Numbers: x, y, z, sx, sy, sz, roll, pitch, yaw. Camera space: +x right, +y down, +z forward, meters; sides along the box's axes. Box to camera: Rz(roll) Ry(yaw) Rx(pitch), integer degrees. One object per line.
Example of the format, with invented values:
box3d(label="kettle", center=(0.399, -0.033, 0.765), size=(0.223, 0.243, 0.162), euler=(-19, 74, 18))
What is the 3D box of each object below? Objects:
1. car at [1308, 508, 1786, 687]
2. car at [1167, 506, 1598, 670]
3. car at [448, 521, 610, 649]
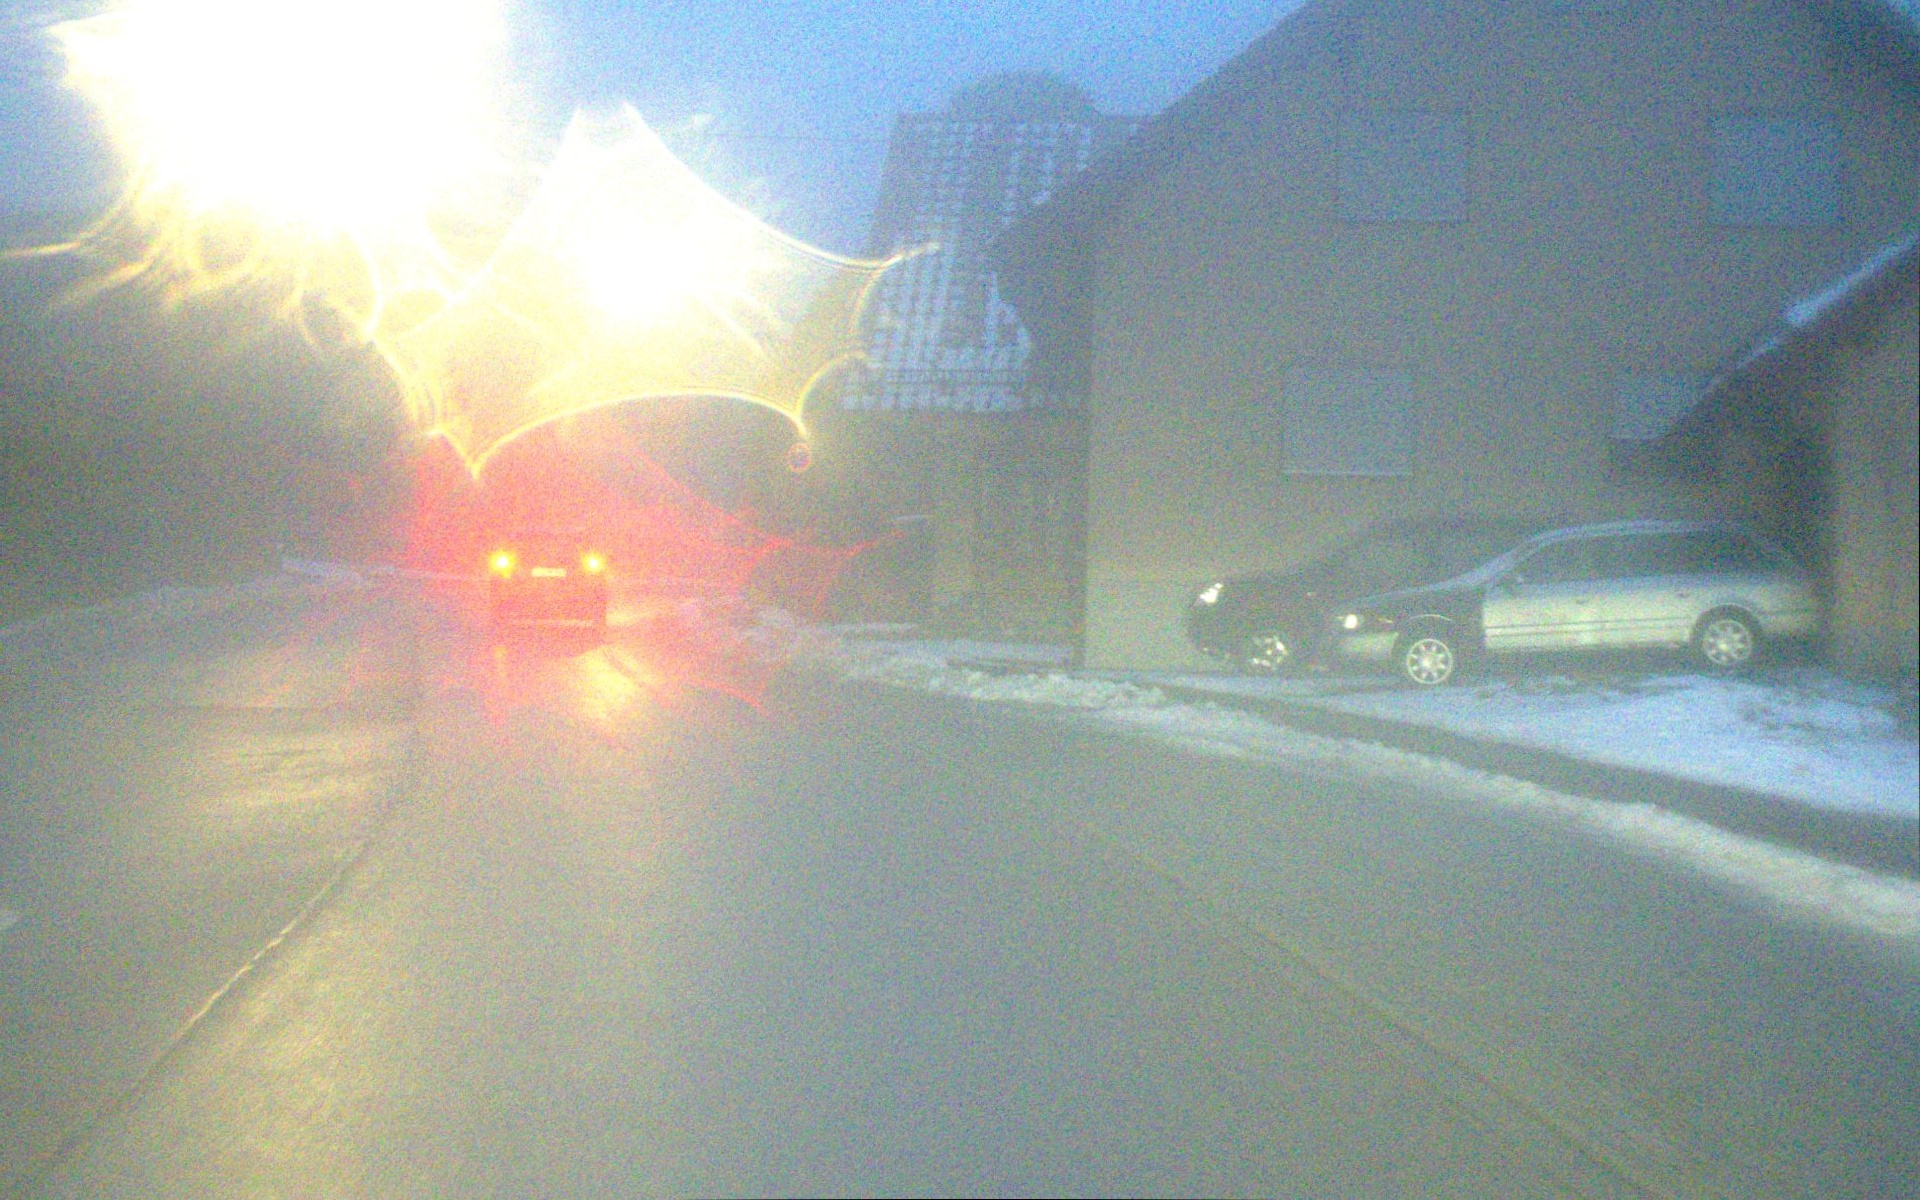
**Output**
box3d(label="car", center=(5.402, 0.008, 32.071), size=(4.243, 1.554, 1.999), euler=(-1, -2, 7))
box3d(label="car", center=(4.232, -0.101, 34.968), size=(4.158, 1.554, 1.946), euler=(-1, -2, 2))
box3d(label="car", center=(-6.392, -0.190, 50.667), size=(1.993, 1.731, 3.879), euler=(0, -2, -13))
